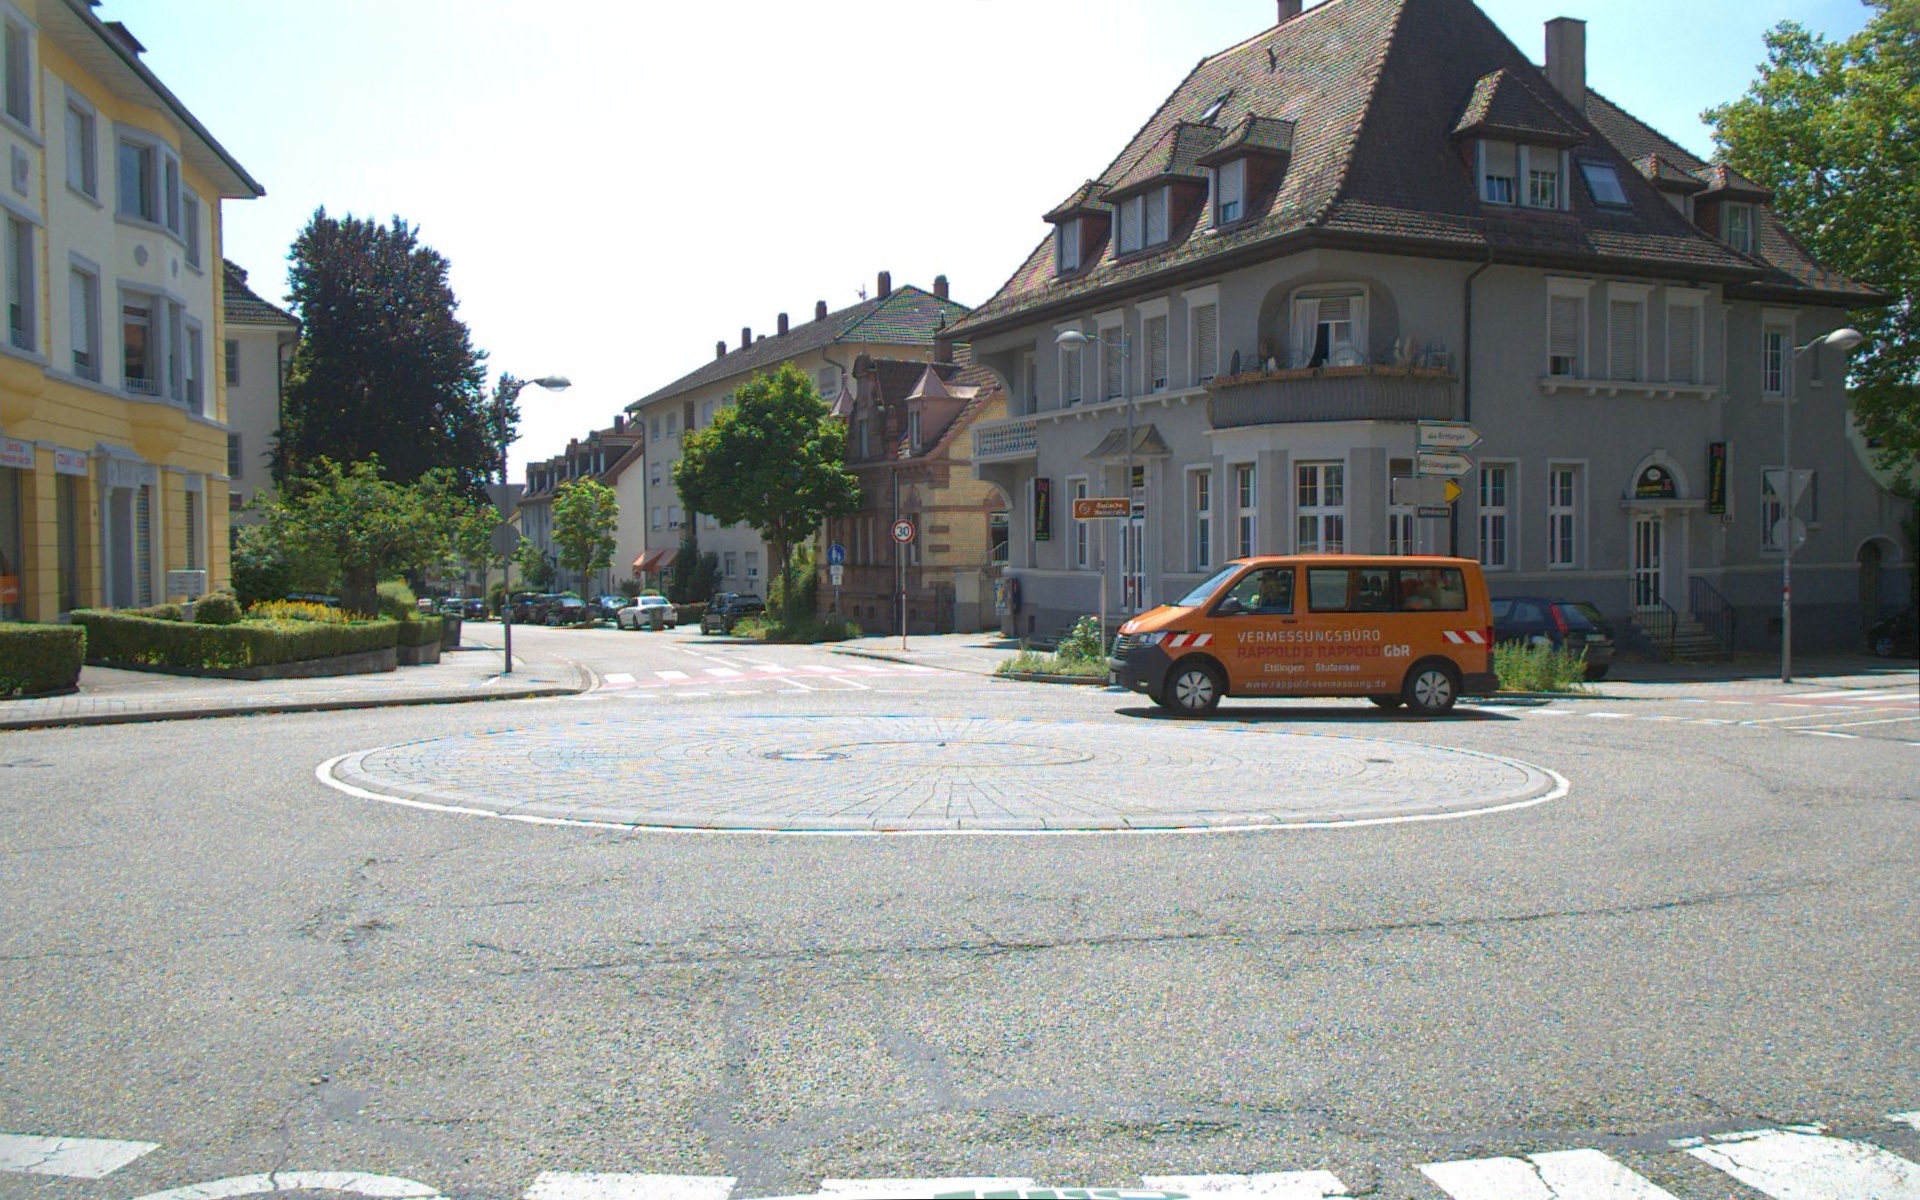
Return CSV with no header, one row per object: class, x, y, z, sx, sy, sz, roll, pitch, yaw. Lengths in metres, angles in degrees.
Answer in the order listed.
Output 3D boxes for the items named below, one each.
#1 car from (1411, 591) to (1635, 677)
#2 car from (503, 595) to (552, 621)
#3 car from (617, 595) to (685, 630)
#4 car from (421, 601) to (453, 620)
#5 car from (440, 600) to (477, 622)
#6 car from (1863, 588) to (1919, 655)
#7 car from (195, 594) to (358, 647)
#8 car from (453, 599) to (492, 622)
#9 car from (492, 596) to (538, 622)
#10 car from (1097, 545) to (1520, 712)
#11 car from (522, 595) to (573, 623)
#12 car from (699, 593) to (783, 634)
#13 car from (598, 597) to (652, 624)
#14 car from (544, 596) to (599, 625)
car,10.315,0.573,30.517,1.700,1.486,3.754,0,0,-30
car,-25.912,0.479,99.018,1.969,1.535,4.381,0,0,-26
car,-14.084,0.526,75.277,1.969,1.535,4.381,0,0,-26
car,-41.976,0.833,132.711,1.969,1.514,3.967,1,0,-26
car,-37.190,0.787,122.556,1.969,1.535,4.381,0,0,-26
car,23.437,0.496,39.044,1.701,1.573,3.358,0,0,-30
car,-20.920,0.593,50.636,4.363,1.535,1.977,0,0,-33
car,-34.584,0.724,117.356,1.969,1.535,4.381,0,0,-26
car,-27.863,0.549,103.427,1.969,1.535,4.381,0,0,-26
car,4.319,0.345,20.990,4.906,1.993,1.948,0,1,-5
car,-23.536,0.503,94.327,1.969,1.535,4.381,0,0,-26
car,-8.612,0.502,64.646,1.969,1.535,4.381,0,0,-26
car,-19.050,0.581,94.031,1.969,1.535,4.381,0,0,-26
car,-20.918,0.530,88.875,1.969,1.535,4.381,0,0,-26
